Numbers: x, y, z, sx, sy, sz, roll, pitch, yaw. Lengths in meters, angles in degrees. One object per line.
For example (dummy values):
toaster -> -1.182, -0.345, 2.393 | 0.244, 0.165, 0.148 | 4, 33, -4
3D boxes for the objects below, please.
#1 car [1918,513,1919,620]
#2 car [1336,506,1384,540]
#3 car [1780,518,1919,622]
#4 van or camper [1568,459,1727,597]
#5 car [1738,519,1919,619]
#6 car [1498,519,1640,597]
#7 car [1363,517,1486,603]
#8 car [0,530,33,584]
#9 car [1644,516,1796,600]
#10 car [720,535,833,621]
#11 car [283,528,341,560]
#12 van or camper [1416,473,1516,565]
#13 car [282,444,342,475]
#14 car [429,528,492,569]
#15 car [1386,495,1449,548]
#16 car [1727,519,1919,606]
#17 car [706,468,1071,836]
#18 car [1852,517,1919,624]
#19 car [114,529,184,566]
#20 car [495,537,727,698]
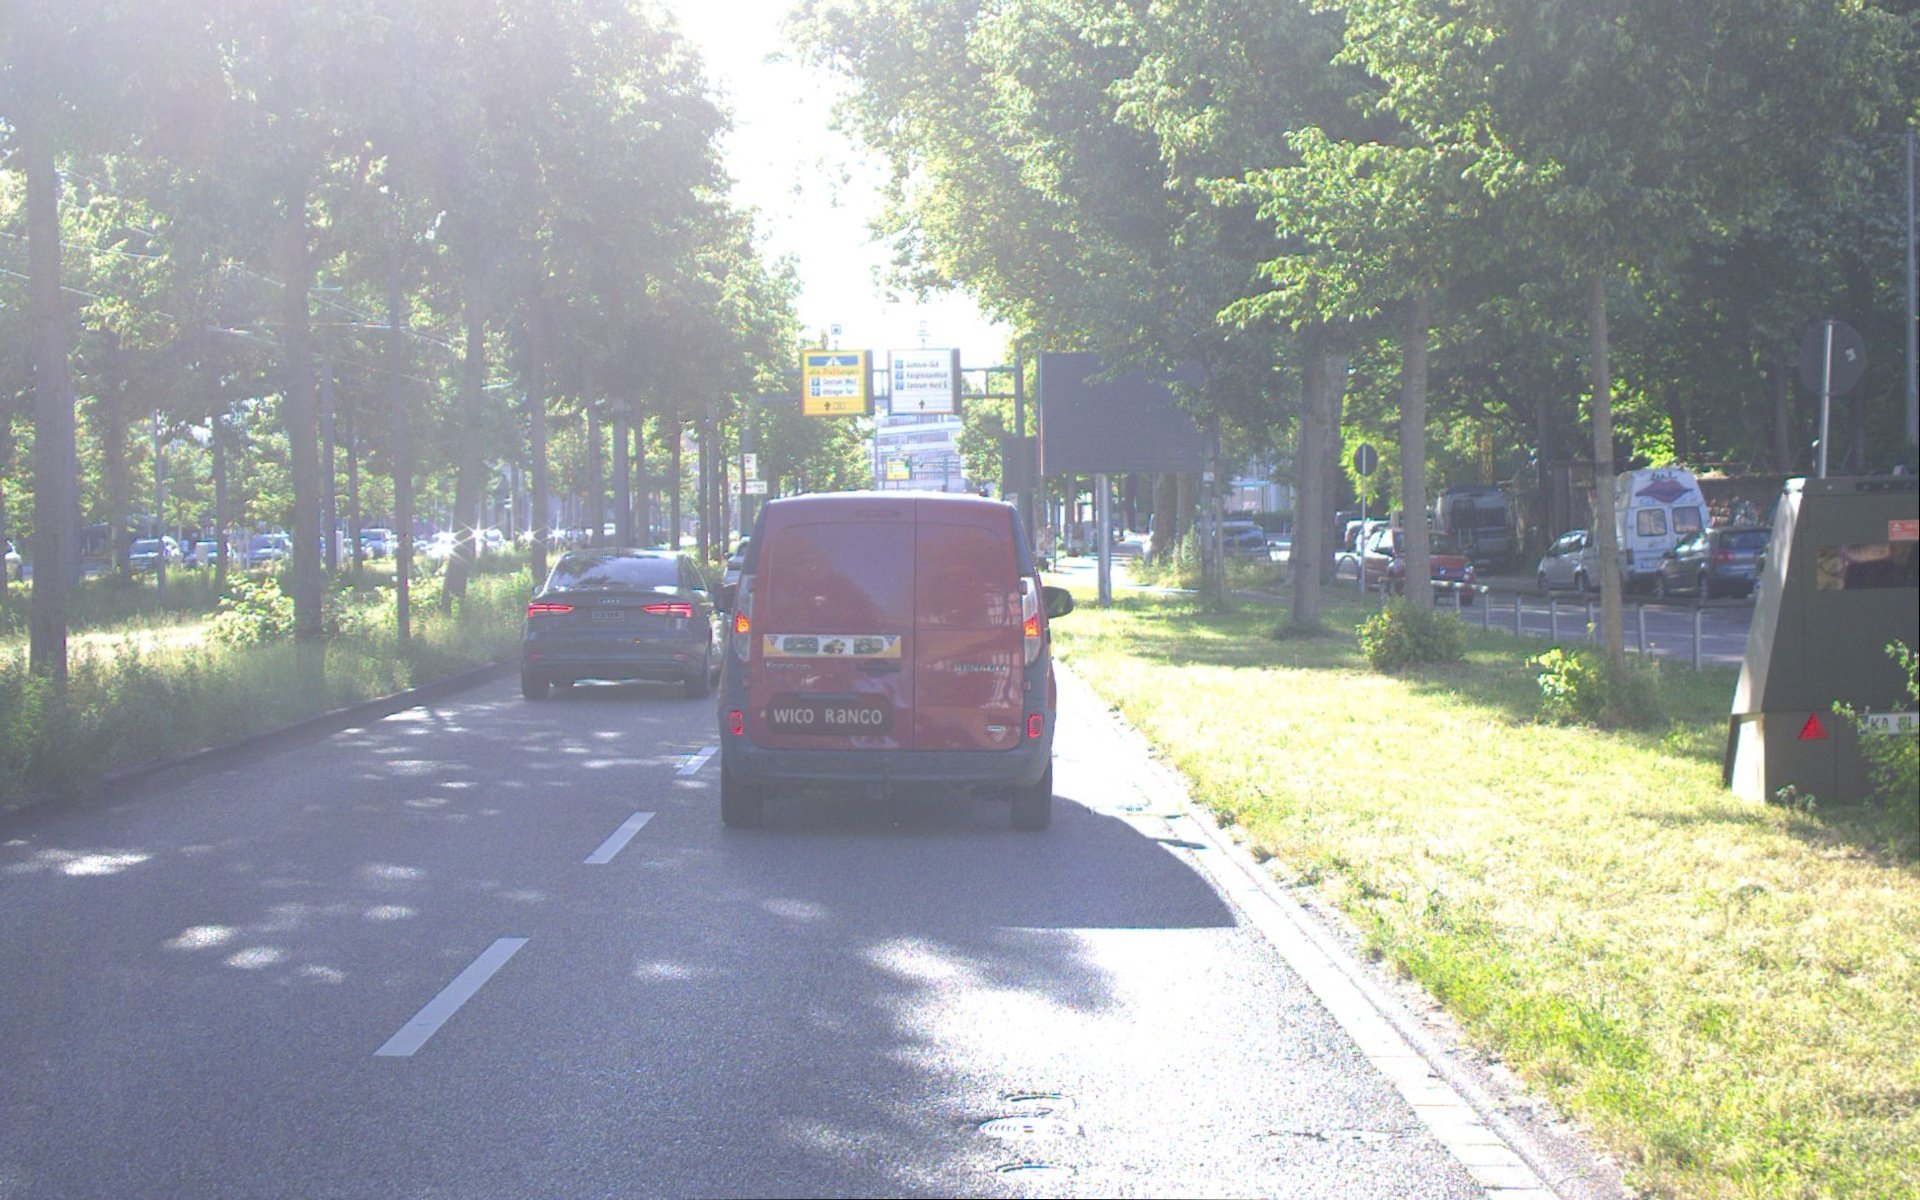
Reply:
car -> 15.562, -0.508, 47.351 | 4.190, 1.493, 1.782 | -2, 1, -3
car -> 19.903, -3.802, 171.138 | 1.993, 1.634, 4.000 | 1, 1, 1
car -> 15.211, -0.569, 53.512 | 4.381, 1.406, 2.000 | -5, 1, 3
van or camper -> 14.503, -1.516, 72.793 | 1.993, 2.722, 4.965 | -3, 1, -3
car -> 15.372, -0.578, 56.352 | 4.719, 1.401, 2.000 | -4, 1, 0
car -> 14.034, -0.988, 79.444 | 1.839, 1.612, 4.001 | -4, 2, -11
car -> 9.175, -0.798, 68.167 | 1.993, 1.634, 4.000 | 1, 1, 2
car -> -32.601, -1.471, 115.117 | 1.993, 1.766, 4.777 | 1, 1, -3
car -> 14.781, -0.827, 67.057 | 1.993, 1.568, 4.000 | 1, 1, -1
car -> -3.593, -0.454, 67.878 | 1.993, 1.612, 4.000 | 1, 1, 0
car -> -33.158, -2.848, 175.987 | 1.993, 1.603, 4.611 | 1, 1, 1
van or camper -> 15.880, -2.575, 108.215 | 2.557, 2.675, 6.564 | -3, 1, 4
car -> -30.827, -6.670, 163.556 | 1.912, 1.321, 4.611 | 1, 1, 1
car -> -21.389, -2.199, 147.348 | 1.993, 1.680, 5.111 | 1, 1, -1
car -> 17.431, -2.988, 131.153 | 2.087, 2.007, 4.942 | 0, 1, 4
car -> 15.863, -0.676, 61.079 | 3.986, 1.499, 1.766 | -1, 1, -6
car -> -0.468, 0.234, 19.334 | 1.808, 1.831, 4.001 | 1, 1, -3
car -> 15.594, -0.529, 50.641 | 4.327, 1.473, 1.907 | -3, 2, -4
car -> -33.185, -2.164, 140.761 | 1.879, 1.430, 4.611 | -1, 1, -2
car -> -3.276, 0.129, 32.917 | 1.792, 1.423, 4.000 | 1, 1, 0
